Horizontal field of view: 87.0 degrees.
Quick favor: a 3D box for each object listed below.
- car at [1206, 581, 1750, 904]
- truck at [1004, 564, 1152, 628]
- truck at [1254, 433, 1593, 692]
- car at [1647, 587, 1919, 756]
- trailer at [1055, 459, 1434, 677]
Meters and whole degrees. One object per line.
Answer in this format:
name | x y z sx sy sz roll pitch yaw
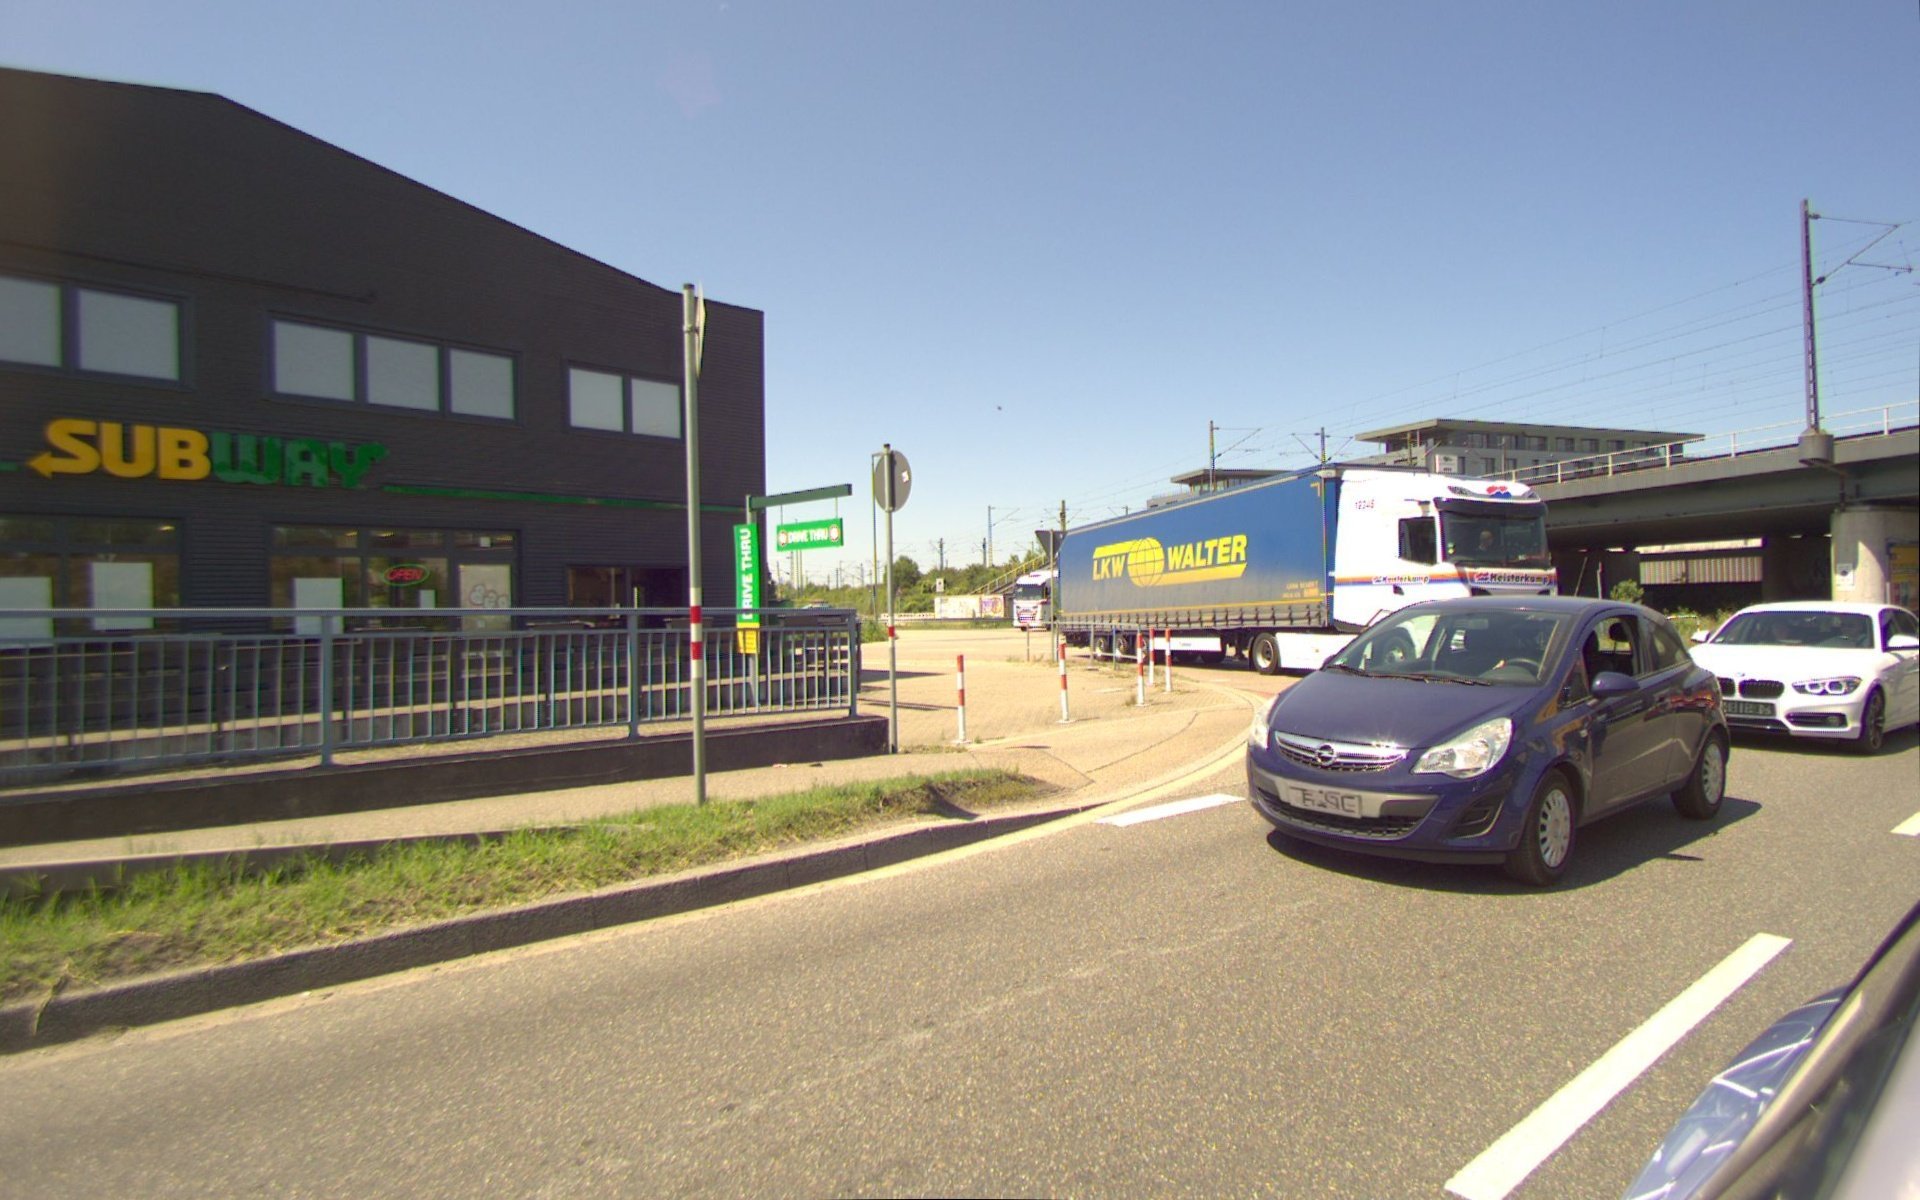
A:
car | 3.433 0.651 6.428 3.820 1.462 1.650 0 0 -38
truck | 9.004 -0.371 73.205 2.735 4.154 17.221 0 0 35
truck | 8.484 -0.635 19.342 2.522 4.153 5.774 0 0 -20
car | 9.201 0.624 10.841 3.976 1.461 1.764 0 2 -35
trailer | 6.173 -0.546 26.230 2.447 4.142 13.932 0 -1 -16
